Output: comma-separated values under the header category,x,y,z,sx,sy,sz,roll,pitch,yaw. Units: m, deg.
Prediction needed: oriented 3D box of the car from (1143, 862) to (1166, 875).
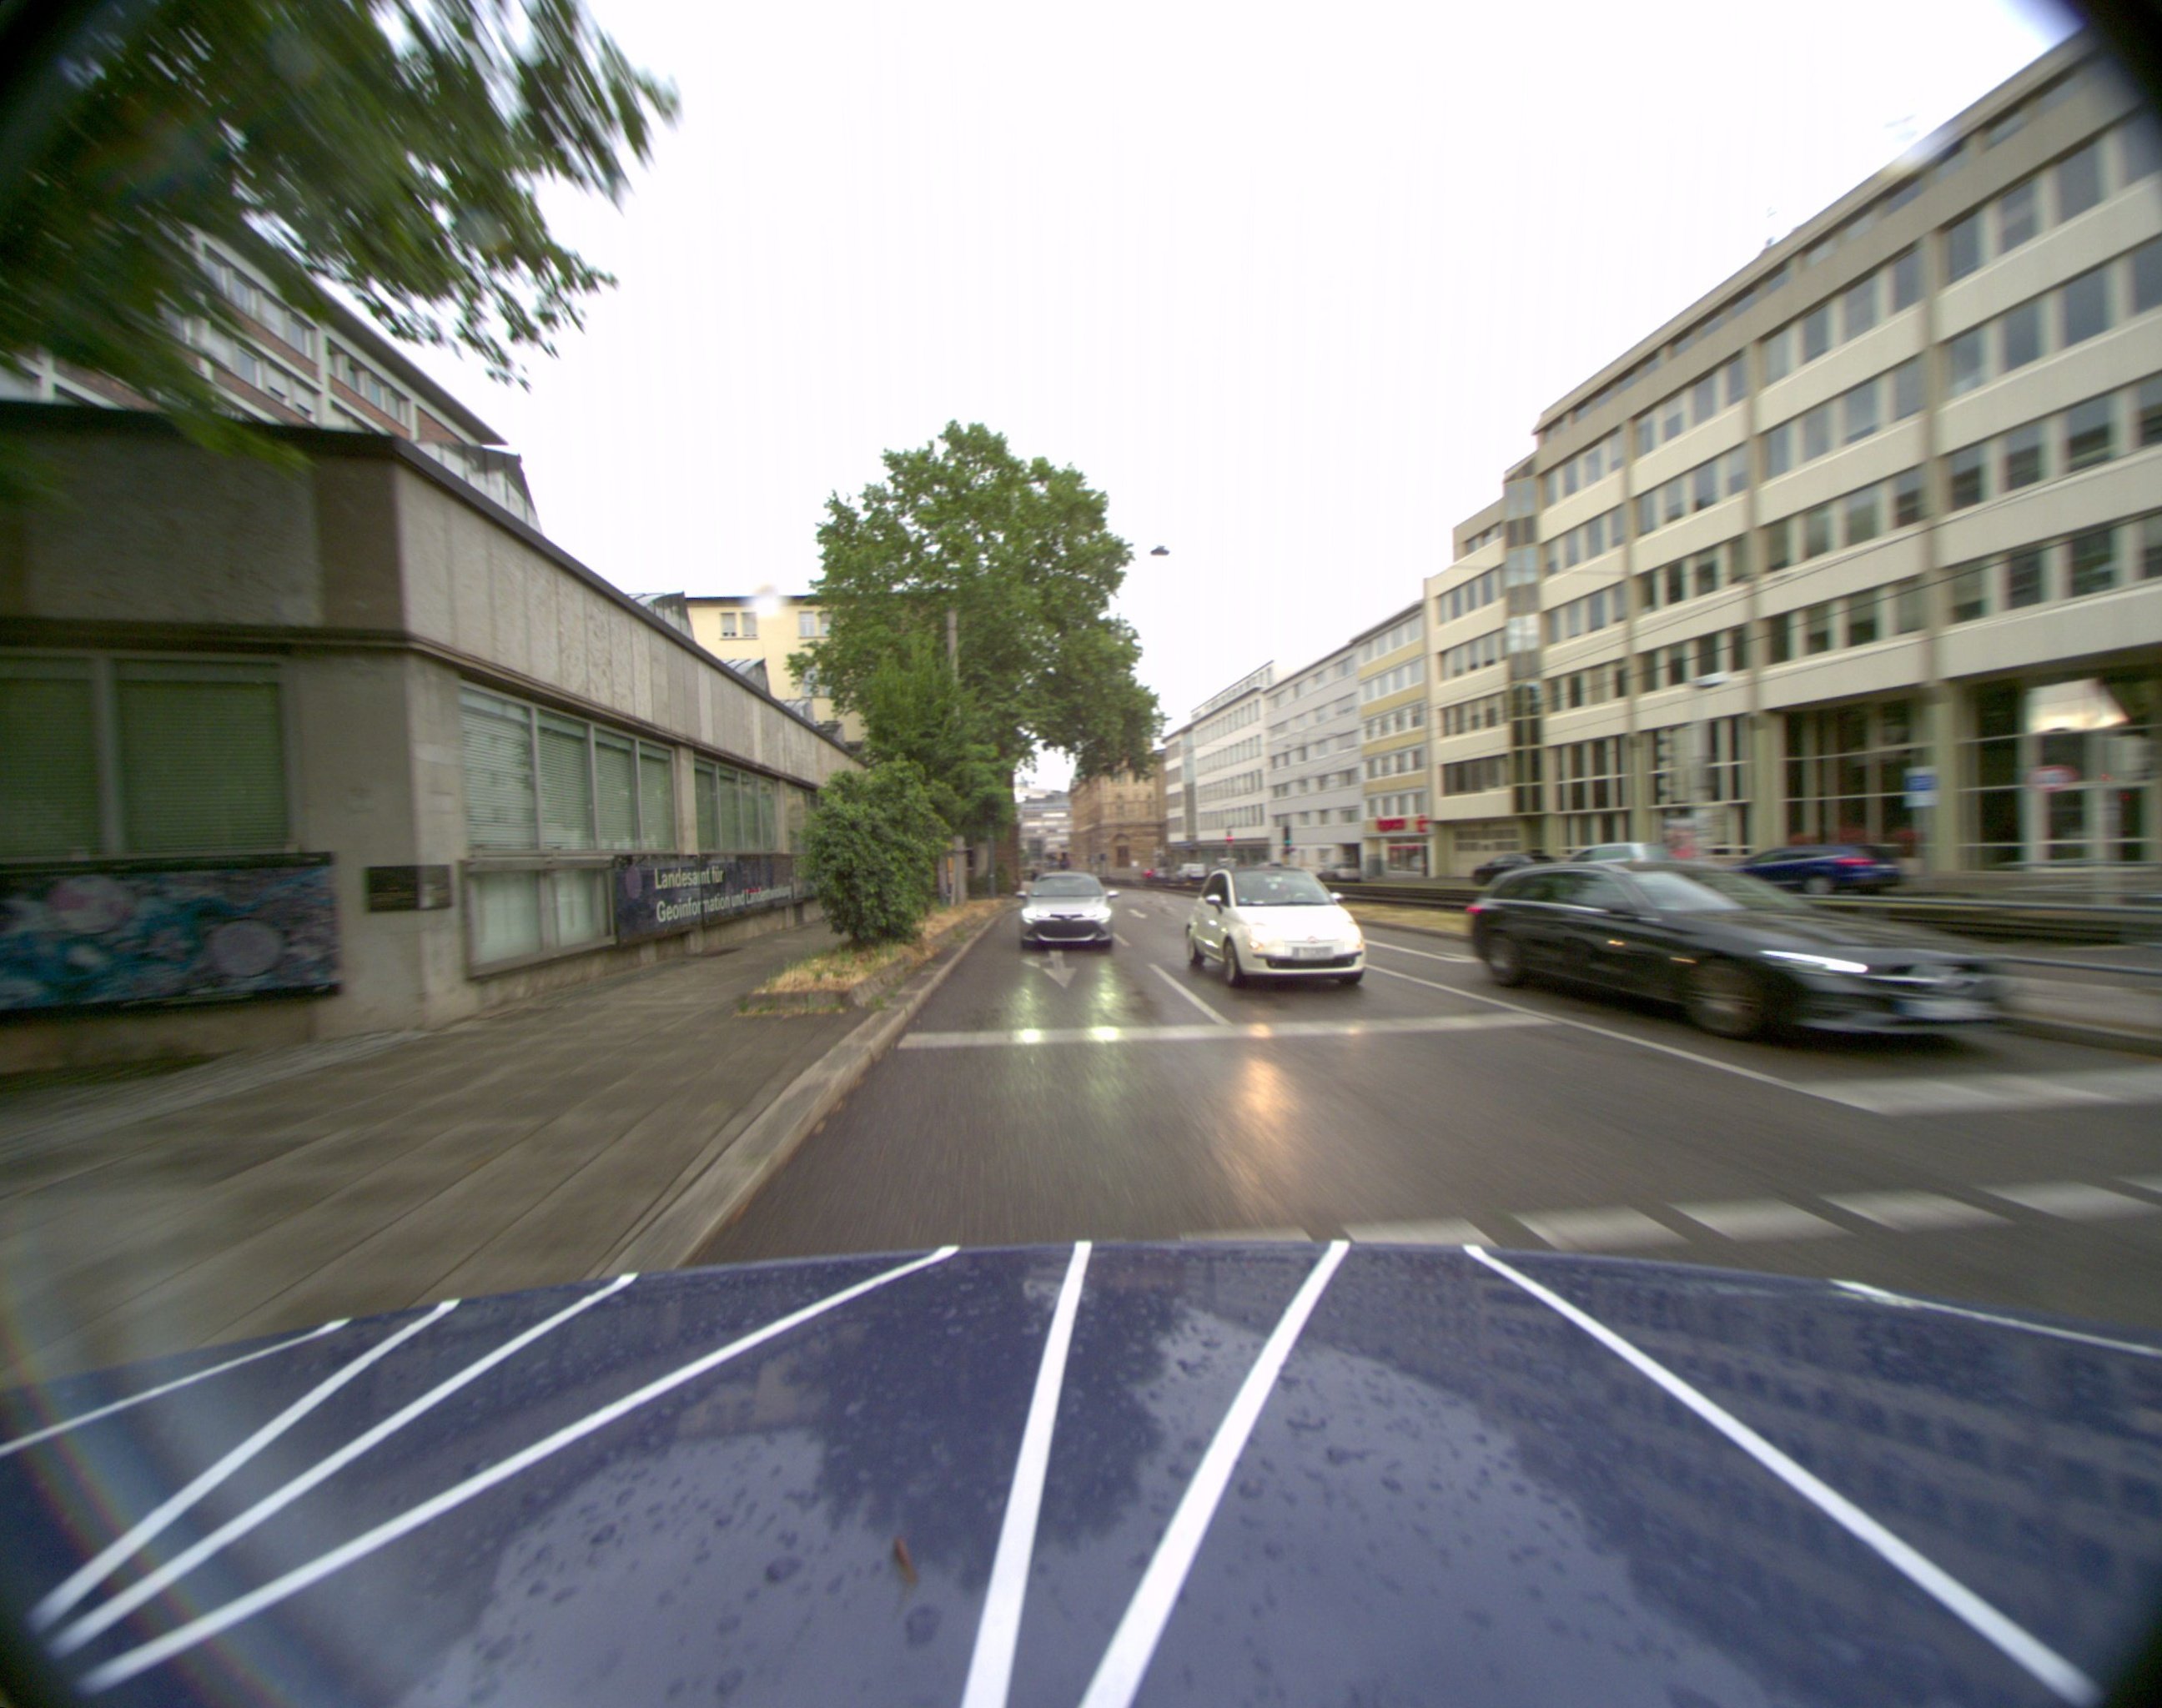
category,x,y,z,sx,sy,sz,roll,pitch,yaw
car,10.046,1.995,104.020,1.890,1.615,4.474,-3,0,-10

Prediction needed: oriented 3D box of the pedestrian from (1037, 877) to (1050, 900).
category,x,y,z,sx,sy,sz,roll,pitch,yaw
pedestrian,-2.749,2.520,55.255,0.719,1.629,0.760,-4,1,7

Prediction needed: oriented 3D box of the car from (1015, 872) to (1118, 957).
category,x,y,z,sx,sy,sz,roll,pitch,yaw
car,-0.331,1.123,15.687,1.812,1.426,4.297,-1,0,-2

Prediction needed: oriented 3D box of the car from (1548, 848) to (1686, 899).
category,x,y,z,sx,sy,sz,roll,pitch,yaw
car,20.378,0.712,29.126,1.802,1.736,4.213,-3,0,-11

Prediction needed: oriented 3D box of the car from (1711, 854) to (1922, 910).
category,x,y,z,sx,sy,sz,roll,pitch,yaw
car,21.285,0.761,22.268,1.801,1.468,4.214,-1,0,-8

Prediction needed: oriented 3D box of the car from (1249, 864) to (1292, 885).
category,x,y,z,sx,sy,sz,roll,pitch,yaw
car,15.585,1.644,62.584,1.890,1.504,4.074,-3,0,-10

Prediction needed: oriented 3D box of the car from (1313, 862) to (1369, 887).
category,x,y,z,sx,sy,sz,roll,pitch,yaw
car,17.432,1.330,51.116,1.801,1.504,4.074,-3,0,-10

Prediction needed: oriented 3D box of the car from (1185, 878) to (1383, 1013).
category,x,y,z,sx,sy,sz,roll,pitch,yaw
car,2.544,1.094,10.338,1.655,1.426,3.439,-1,0,-2

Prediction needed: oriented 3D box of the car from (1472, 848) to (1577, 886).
category,x,y,z,sx,sy,sz,roll,pitch,yaw
car,19.755,0.578,34.068,1.801,1.504,4.074,-3,0,-10

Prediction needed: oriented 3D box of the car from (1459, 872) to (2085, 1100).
category,x,y,z,sx,sy,sz,roll,pitch,yaw
car,5.825,0.940,7.381,1.801,1.434,4.474,-1,0,-4

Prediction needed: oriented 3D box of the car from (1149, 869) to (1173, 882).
category,x,y,z,sx,sy,sz,roll,pitch,yaw
car,9.024,2.454,85.941,1.632,1.349,3.869,-3,0,-9

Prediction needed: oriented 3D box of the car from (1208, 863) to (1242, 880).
category,x,y,z,sx,sy,sz,roll,pitch,yaw
car,12.424,1.508,65.931,1.632,1.349,3.869,-3,0,-9

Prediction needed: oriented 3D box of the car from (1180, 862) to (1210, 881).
category,x,y,z,sx,sy,sz,roll,pitch,yaw
car,12.721,1.934,84.976,1.890,1.924,4.474,-3,0,-10
